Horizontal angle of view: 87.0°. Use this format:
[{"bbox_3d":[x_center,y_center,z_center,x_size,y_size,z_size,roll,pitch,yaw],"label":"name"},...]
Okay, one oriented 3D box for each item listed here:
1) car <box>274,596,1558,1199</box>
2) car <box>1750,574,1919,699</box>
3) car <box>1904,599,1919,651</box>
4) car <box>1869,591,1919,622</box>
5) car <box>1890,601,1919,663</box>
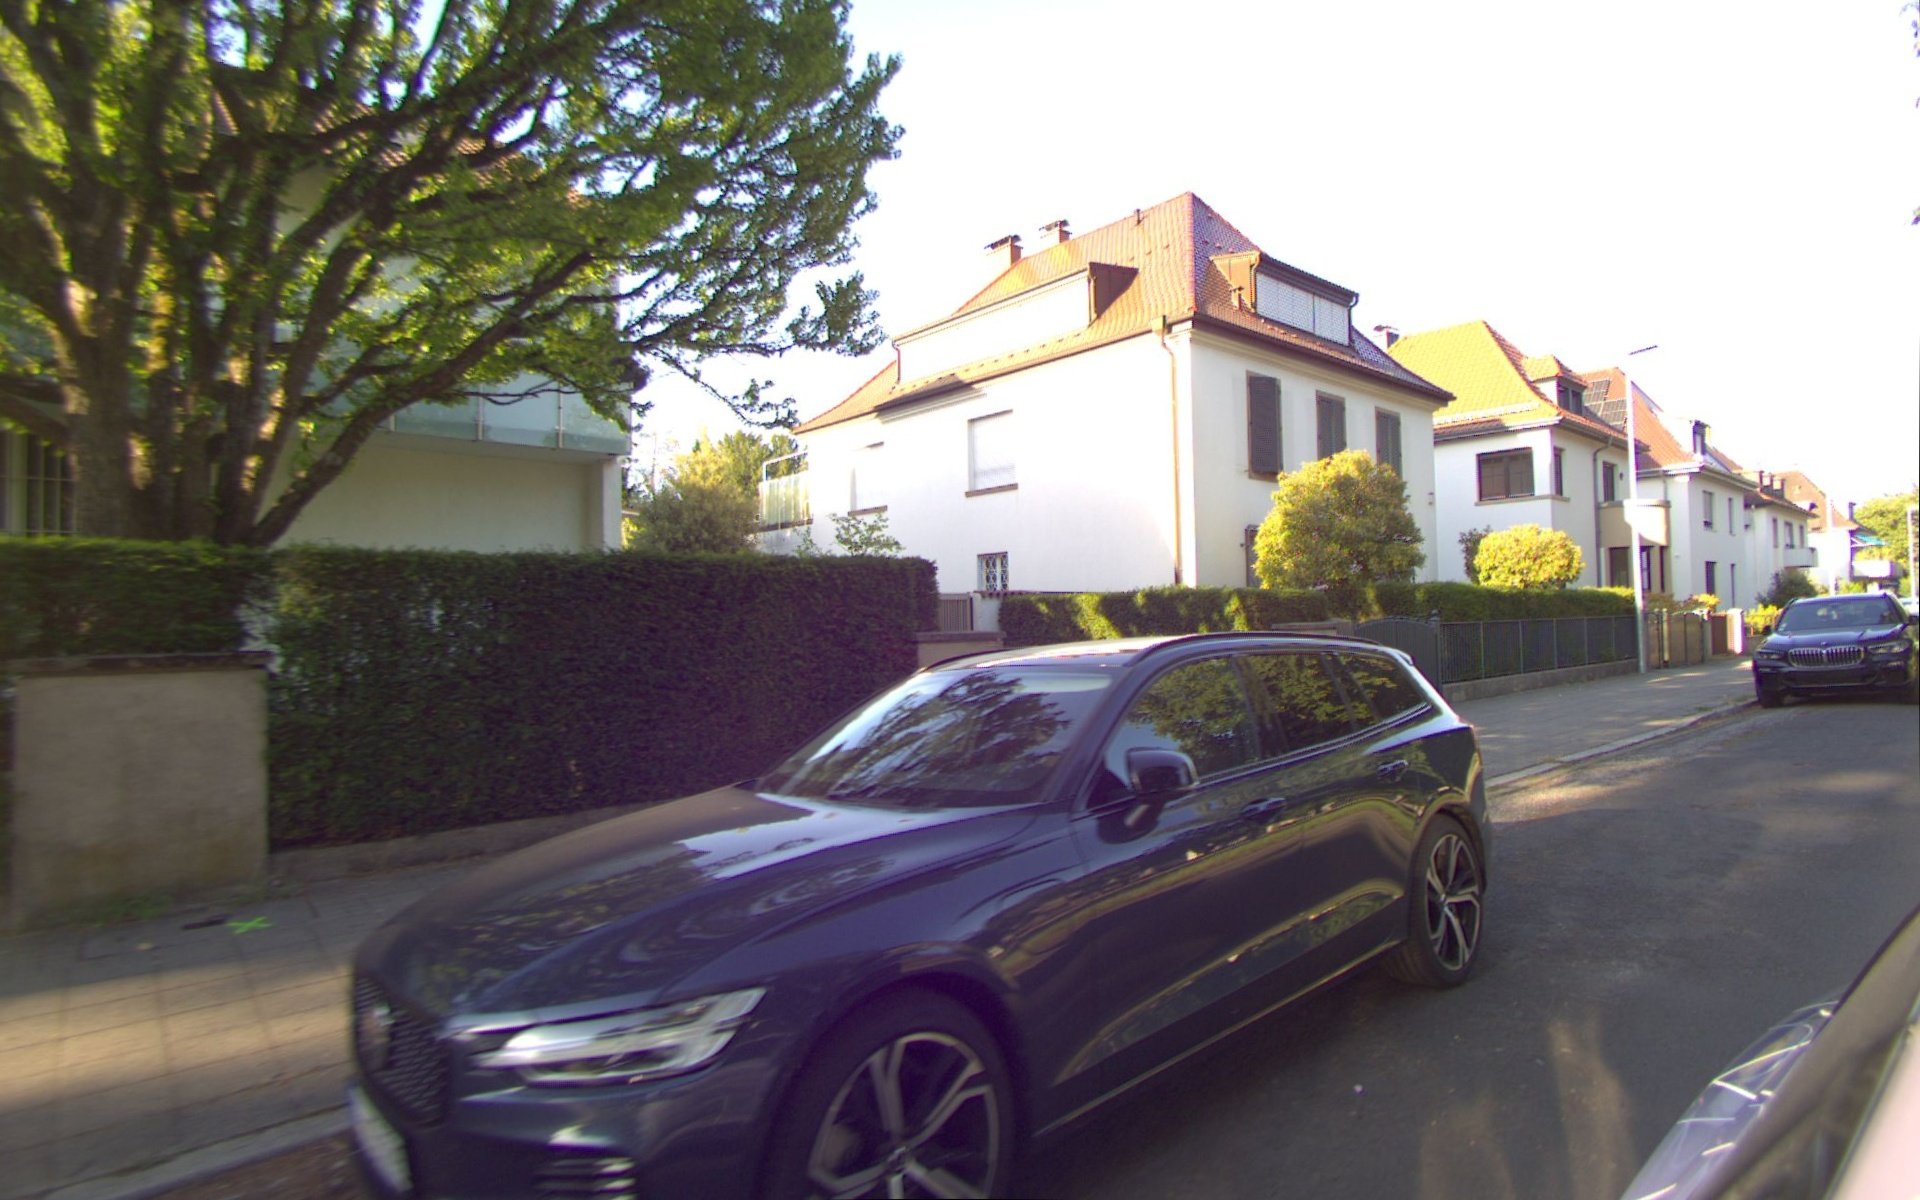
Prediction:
[{"bbox_3d":[0.375,0.796,3.709,4.594,1.511,1.795,-1,-2,-42],"label":"car"},{"bbox_3d":[14.816,0.556,16.669,4.782,1.760,1.995,-1,-4,-43],"label":"car"},{"bbox_3d":[29.644,0.636,30.068,4.474,1.483,1.994,0,-5,-44],"label":"car"},{"bbox_3d":[62.095,0.415,66.038,1.967,1.953,3.988,0,-2,-44],"label":"car"},{"bbox_3d":[25.172,0.733,25.698,4.515,1.482,1.781,0,-4,-42],"label":"car"}]
